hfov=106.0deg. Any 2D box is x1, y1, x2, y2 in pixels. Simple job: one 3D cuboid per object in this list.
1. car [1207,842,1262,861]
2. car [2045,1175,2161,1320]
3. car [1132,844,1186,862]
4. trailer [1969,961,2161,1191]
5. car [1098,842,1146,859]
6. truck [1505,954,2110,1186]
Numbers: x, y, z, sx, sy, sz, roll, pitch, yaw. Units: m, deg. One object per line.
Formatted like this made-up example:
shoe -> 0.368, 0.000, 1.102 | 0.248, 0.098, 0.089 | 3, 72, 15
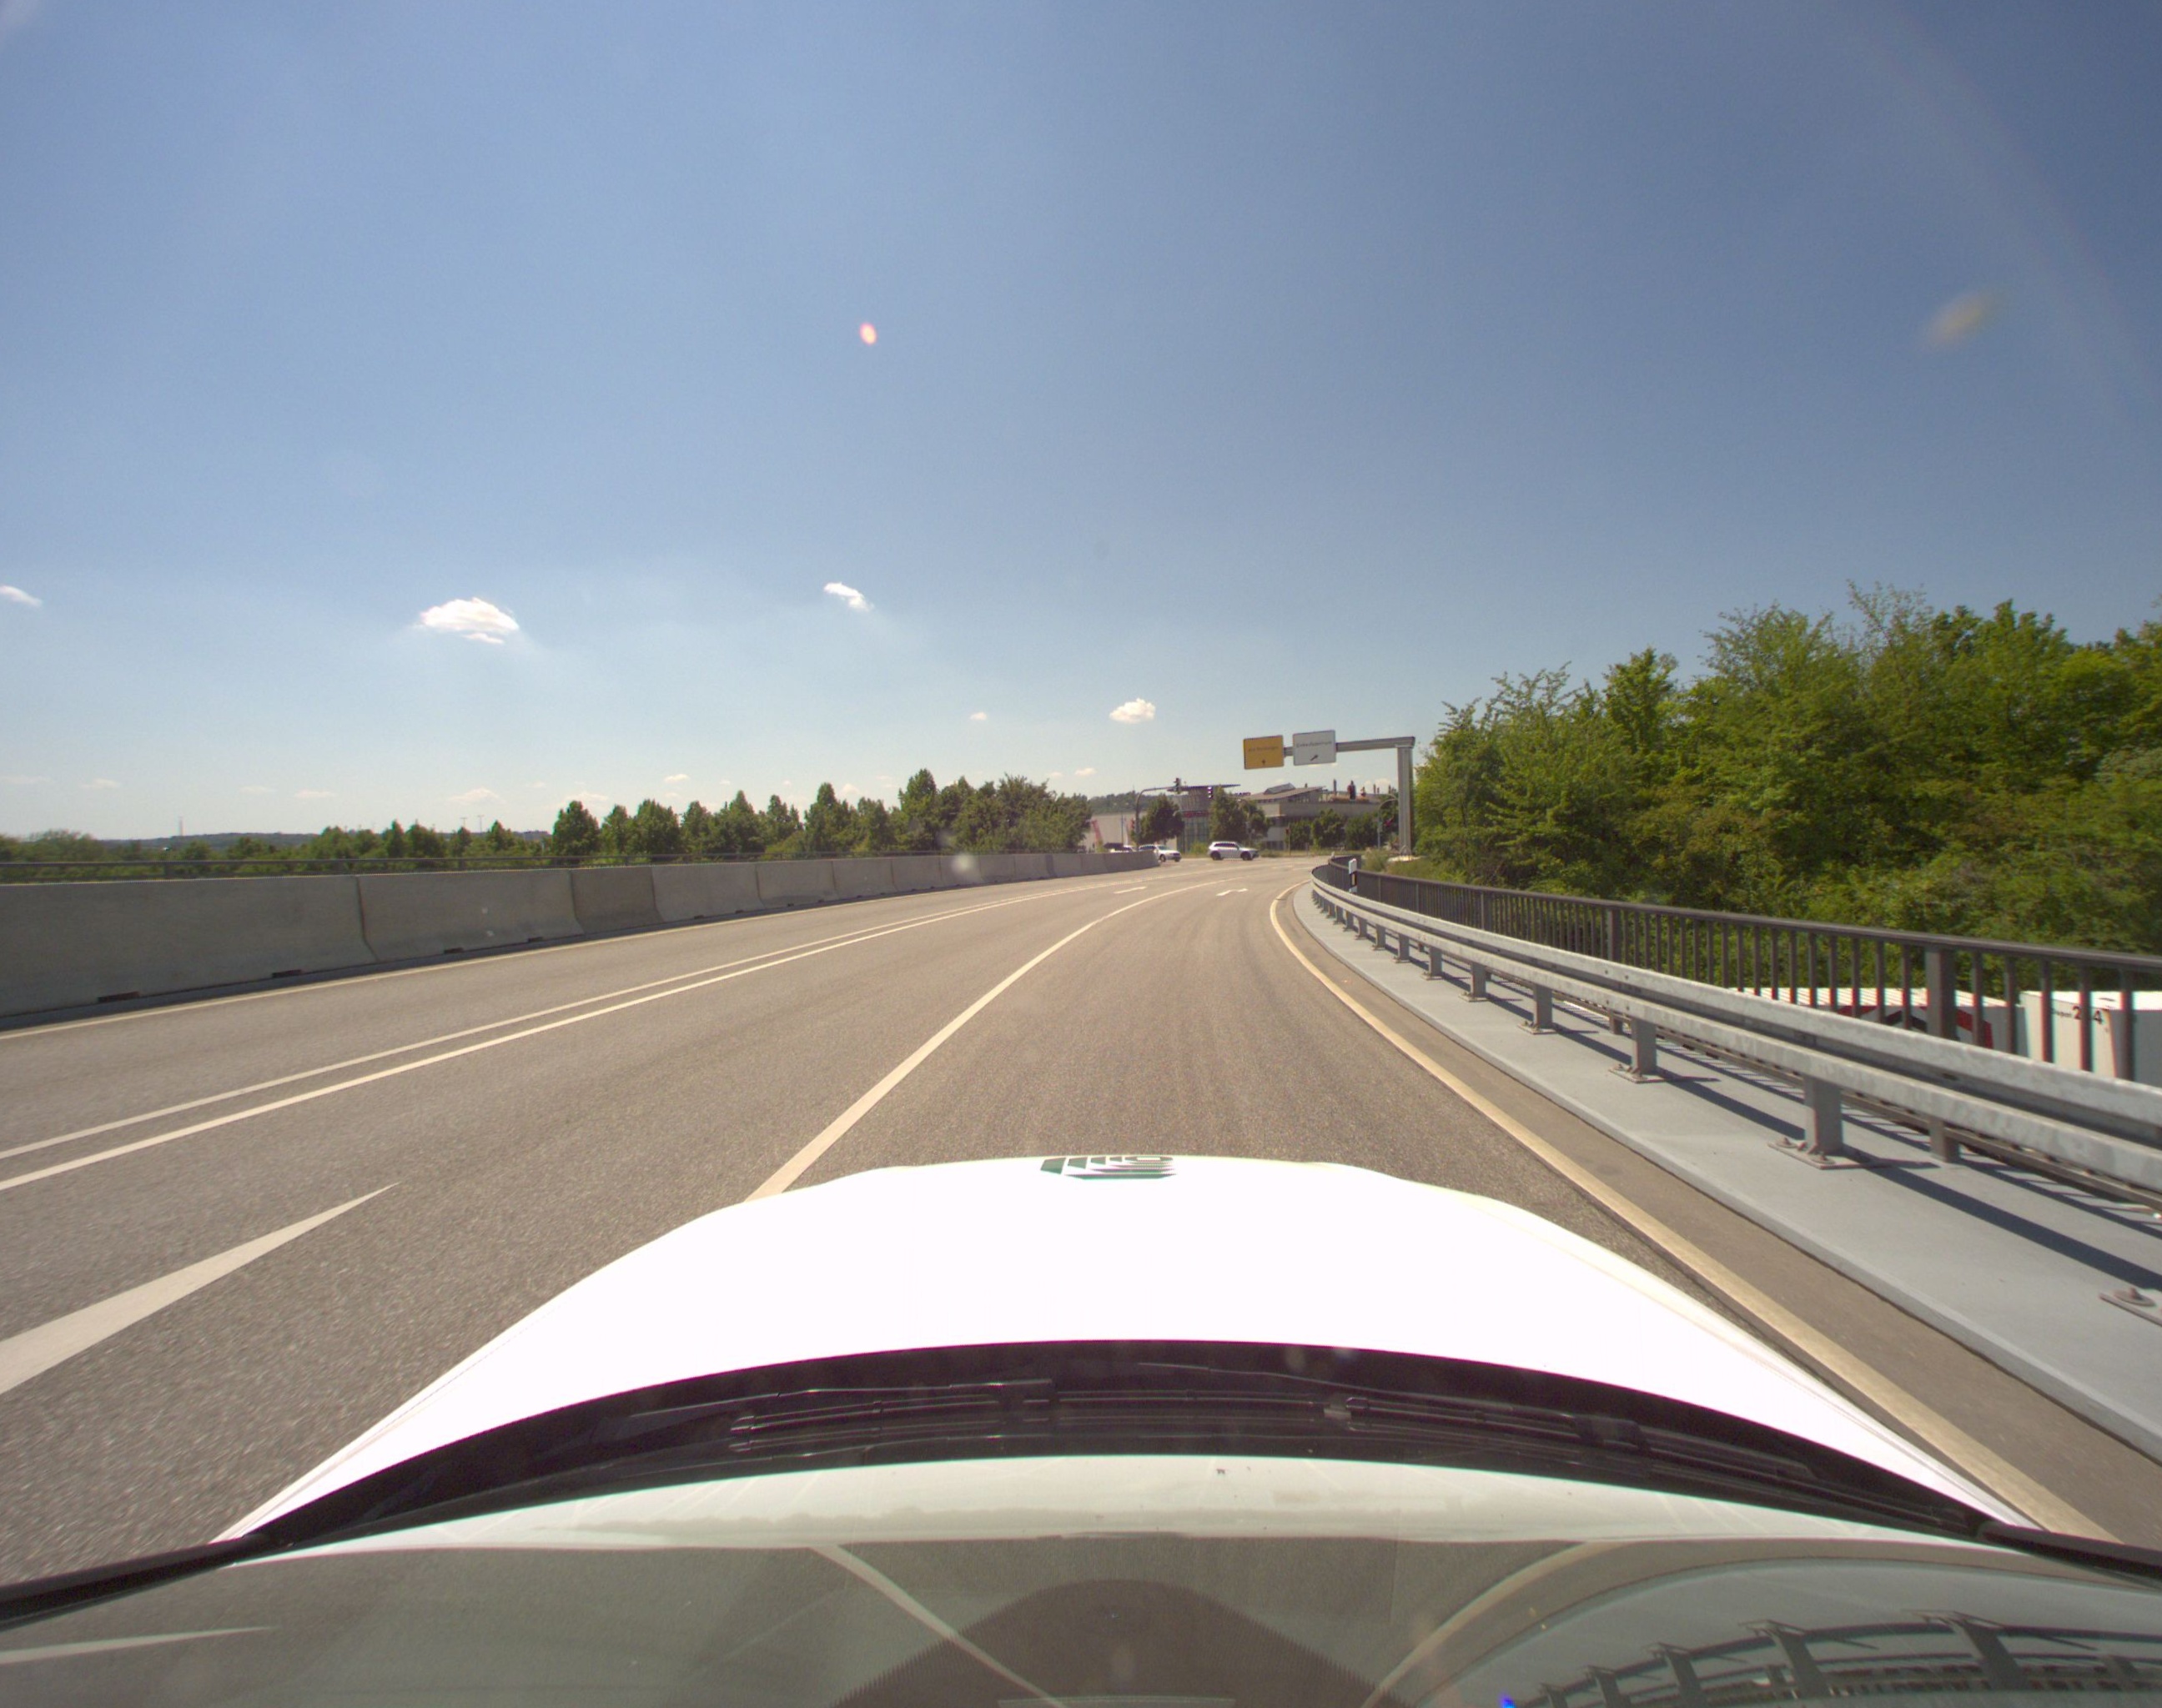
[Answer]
car -> 13.422, -0.184, 71.329 | 4.343, 1.505, 2.011 | -2, -1, 23
car -> 18.857, 6.473, 12.994 | 4.096, 1.553, 1.803 | -2, -1, 21
car -> 6.581, -0.076, 68.703 | 1.803, 1.495, 4.497 | -1, 1, -41
trailer -> 25.350, 4.719, 17.276 | 8.295, 4.347, 2.914 | -2, -1, 21
car -> 3.860, -0.359, 76.862 | 4.082, 1.486, 2.013 | 1, 1, 31
truck -> 16.924, 4.928, 20.345 | 10.884, 4.347, 2.914 | -2, -1, 20
